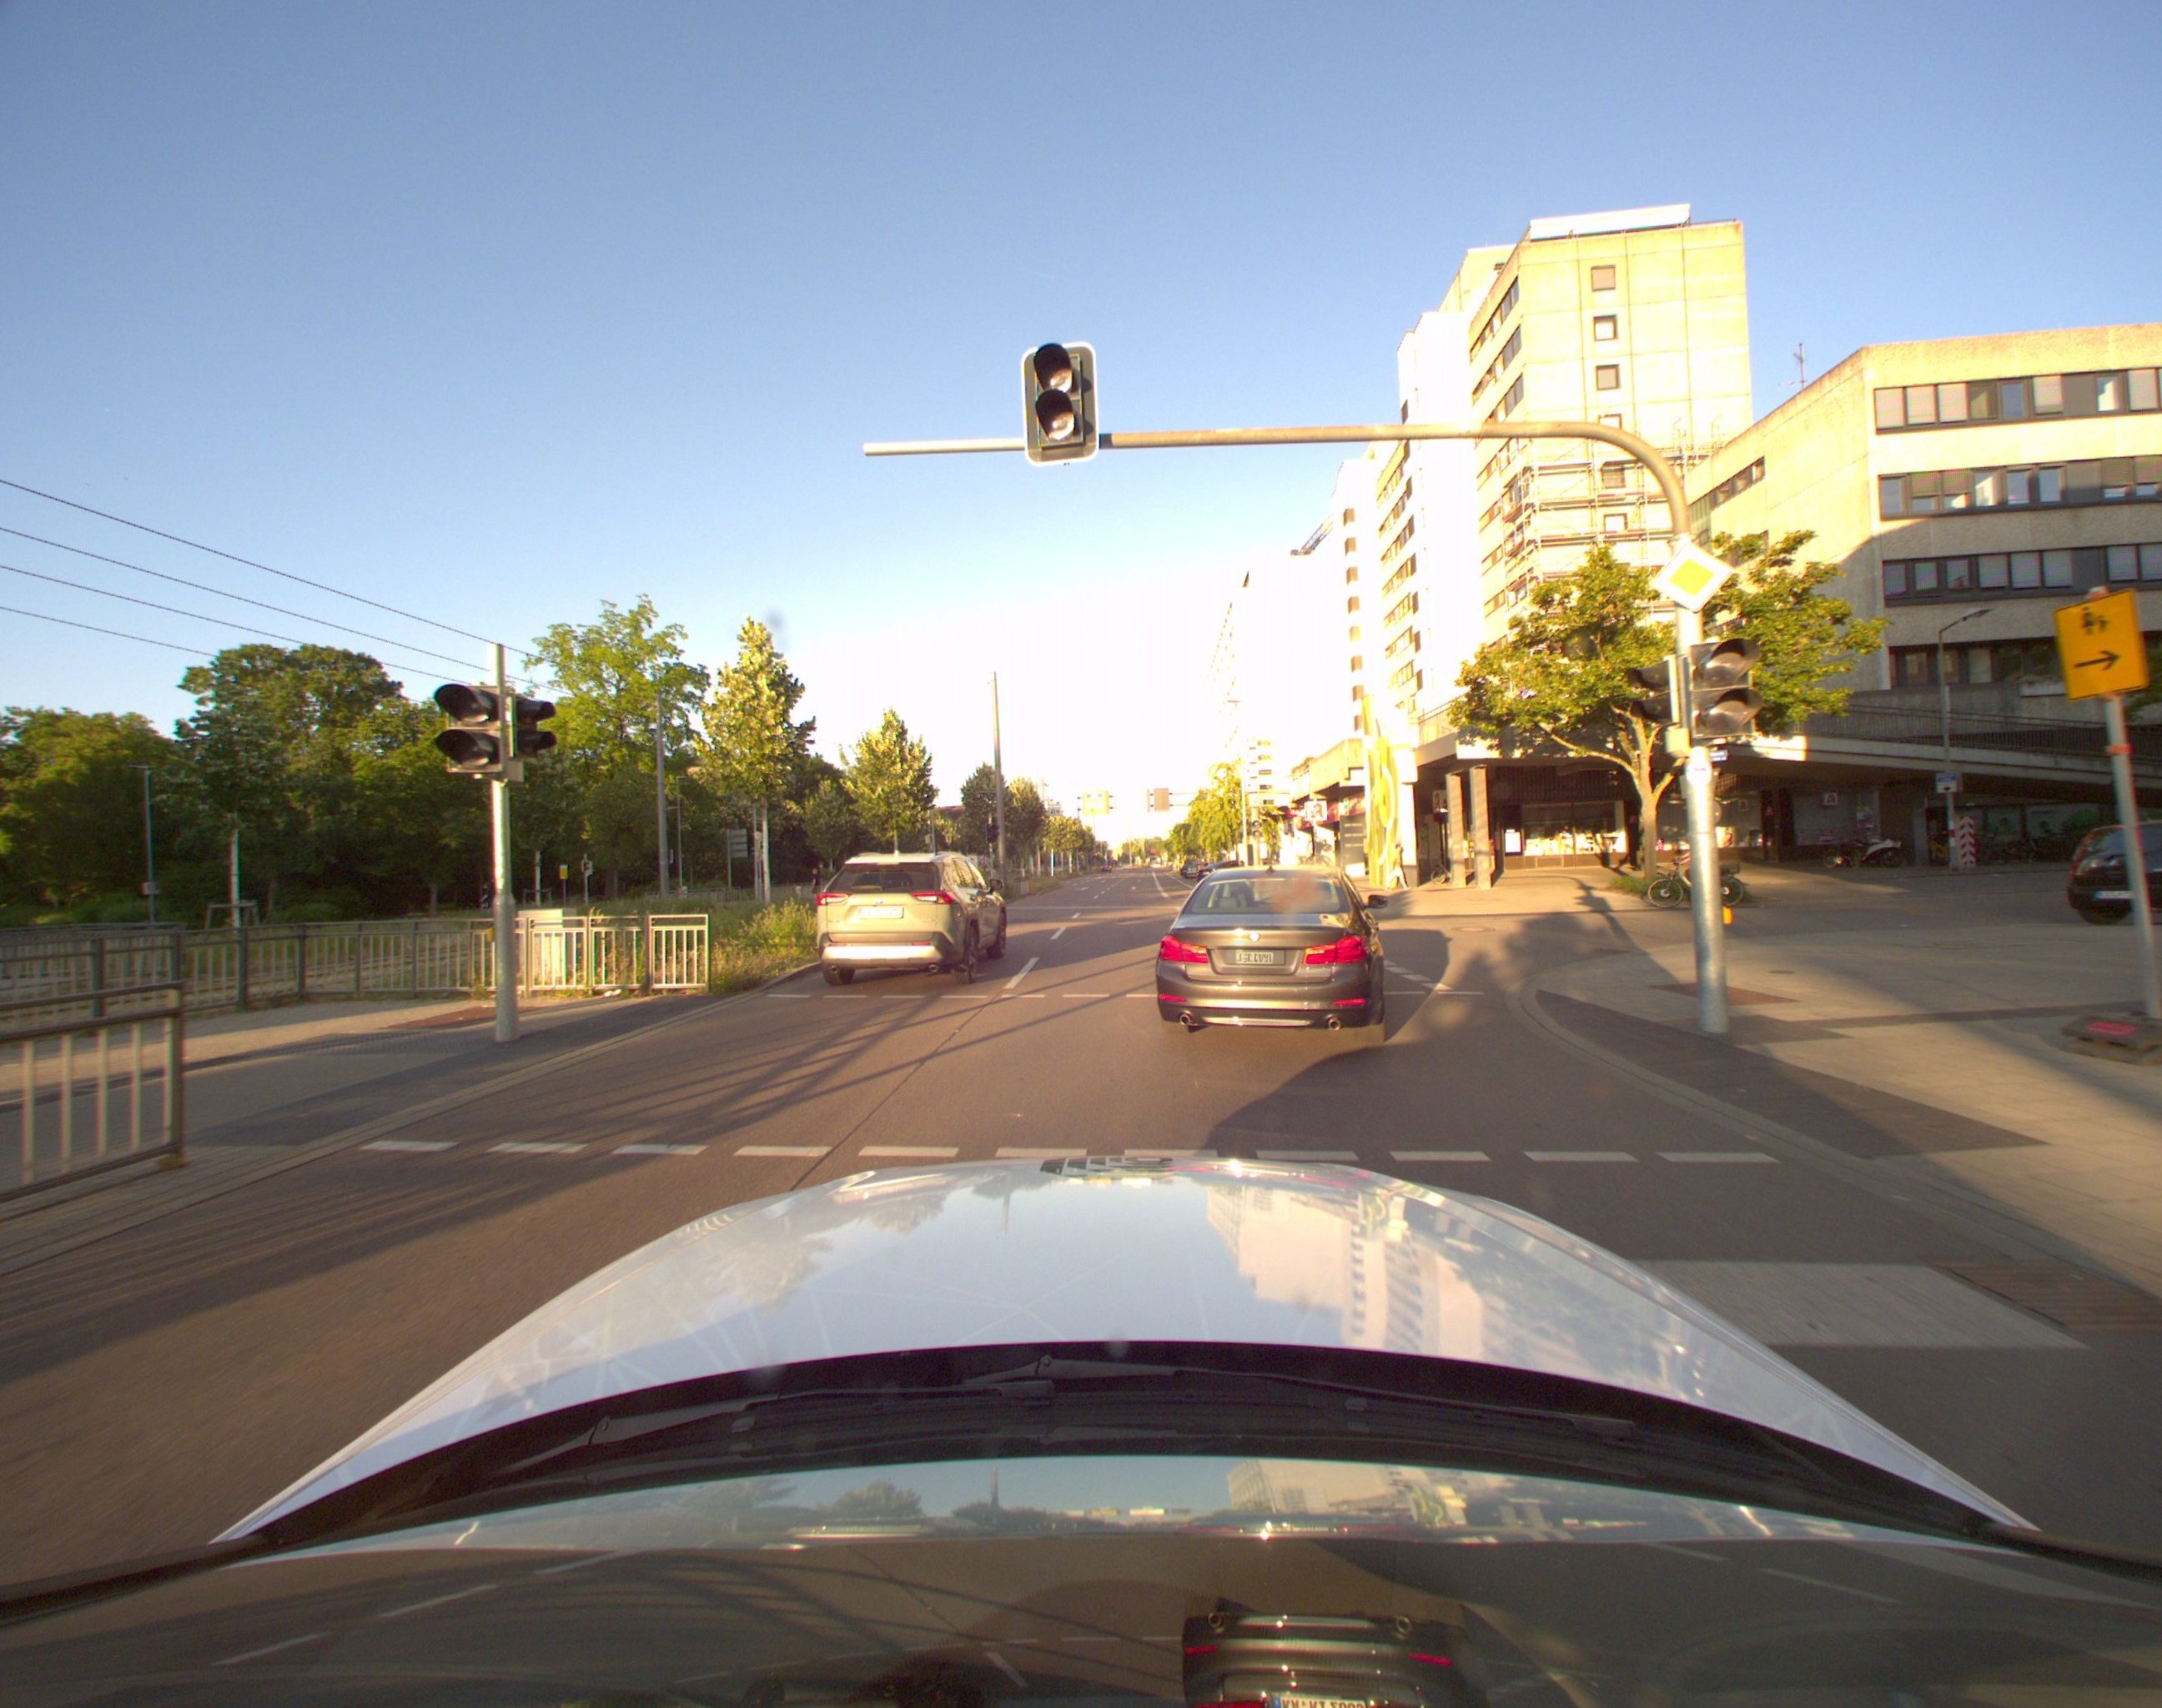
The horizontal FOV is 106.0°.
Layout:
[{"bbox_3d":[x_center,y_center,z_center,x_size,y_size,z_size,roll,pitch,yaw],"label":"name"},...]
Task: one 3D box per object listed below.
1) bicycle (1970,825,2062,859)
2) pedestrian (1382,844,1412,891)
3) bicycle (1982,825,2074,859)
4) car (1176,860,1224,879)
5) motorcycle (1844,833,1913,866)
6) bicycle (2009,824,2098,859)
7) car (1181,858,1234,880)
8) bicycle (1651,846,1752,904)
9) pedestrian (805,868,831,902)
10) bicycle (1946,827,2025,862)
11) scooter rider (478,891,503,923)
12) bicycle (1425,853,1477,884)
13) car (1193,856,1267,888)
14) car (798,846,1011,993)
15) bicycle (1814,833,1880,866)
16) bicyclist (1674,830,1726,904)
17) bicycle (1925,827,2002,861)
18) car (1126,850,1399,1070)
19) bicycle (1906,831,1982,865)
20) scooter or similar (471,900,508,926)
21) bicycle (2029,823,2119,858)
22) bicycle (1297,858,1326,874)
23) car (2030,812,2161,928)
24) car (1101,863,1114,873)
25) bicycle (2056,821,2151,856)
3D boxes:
[{"bbox_3d":[31.596,-0.377,27.569,0.582,1.075,1.966,1,-2,-16],"label":"bicycle"},{"bbox_3d":[11.883,0.509,30.605,0.831,1.712,0.648,-2,-1,4],"label":"pedestrian"},{"bbox_3d":[32.074,-0.393,27.624,0.583,1.075,1.963,1,-2,-21],"label":"bicycle"},{"bbox_3d":[11.001,1.422,75.321,4.284,1.658,1.842,-1,0,-33],"label":"car"},{"bbox_3d":[27.413,-0.134,28.039,0.642,1.075,1.879,1,-2,5],"label":"motorcycle"},{"bbox_3d":[32.670,-0.409,27.404,0.579,1.075,1.976,1,-2,-1],"label":"bicycle"},{"bbox_3d":[10.764,1.237,69.096,4.284,1.658,1.841,-1,0,-33],"label":"car"},{"bbox_3d":[14.565,0.501,19.186,1.764,1.310,0.657,-3,-1,29],"label":"bicycle"},{"bbox_3d":[-12.623,1.474,39.132,0.828,1.586,0.816,-3,-1,17],"label":"pedestrian"},{"bbox_3d":[30.065,-0.299,27.116,0.578,1.075,1.980,1,-2,5],"label":"bicycle"},{"bbox_3d":[-28.984,2.596,39.945,0.644,1.514,0.828,-3,-1,40],"label":"scooter rider"},{"bbox_3d":[14.279,0.582,31.465,0.690,1.149,2.012,1,-2,-16],"label":"bicycle"},{"bbox_3d":[8.596,0.990,46.828,4.290,1.658,1.839,-1,0,-40],"label":"car"},{"bbox_3d":[-2.208,0.738,11.472,1.847,1.658,4.271,-1,0,3],"label":"car"},{"bbox_3d":[26.760,-0.130,28.481,0.578,1.075,1.980,1,-2,5],"label":"bicycle"},{"bbox_3d":[14.565,0.303,19.190,0.810,1.681,0.657,-3,-1,29],"label":"bicyclist"},{"bbox_3d":[29.521,-0.315,27.292,0.578,1.075,1.980,1,-2,5],"label":"bicycle"},{"bbox_3d":[1.966,0.734,8.064,1.917,1.481,4.543,-1,0,18],"label":"car"},{"bbox_3d":[28.802,-0.185,27.228,0.578,1.075,1.980,1,-2,5],"label":"bicycle"},{"bbox_3d":[-28.968,2.872,39.909,0.507,1.153,1.342,-3,-1,40],"label":"scooter or similar"},{"bbox_3d":[33.229,-0.444,27.303,0.579,1.075,1.976,1,-2,-1],"label":"bicycle"},{"bbox_3d":[16.712,0.862,59.044,2.004,1.149,0.692,0,-2,8],"label":"bicycle"},{"bbox_3d":[16.864,0.125,11.692,4.019,1.586,1.708,-4,-4,7],"label":"car"},{"bbox_3d":[4.513,2.315,137.441,1.971,1.433,4.846,-1,0,3],"label":"car"},{"bbox_3d":[33.816,-0.497,26.976,0.579,1.075,1.974,1,-2,-4],"label":"bicycle"}]
